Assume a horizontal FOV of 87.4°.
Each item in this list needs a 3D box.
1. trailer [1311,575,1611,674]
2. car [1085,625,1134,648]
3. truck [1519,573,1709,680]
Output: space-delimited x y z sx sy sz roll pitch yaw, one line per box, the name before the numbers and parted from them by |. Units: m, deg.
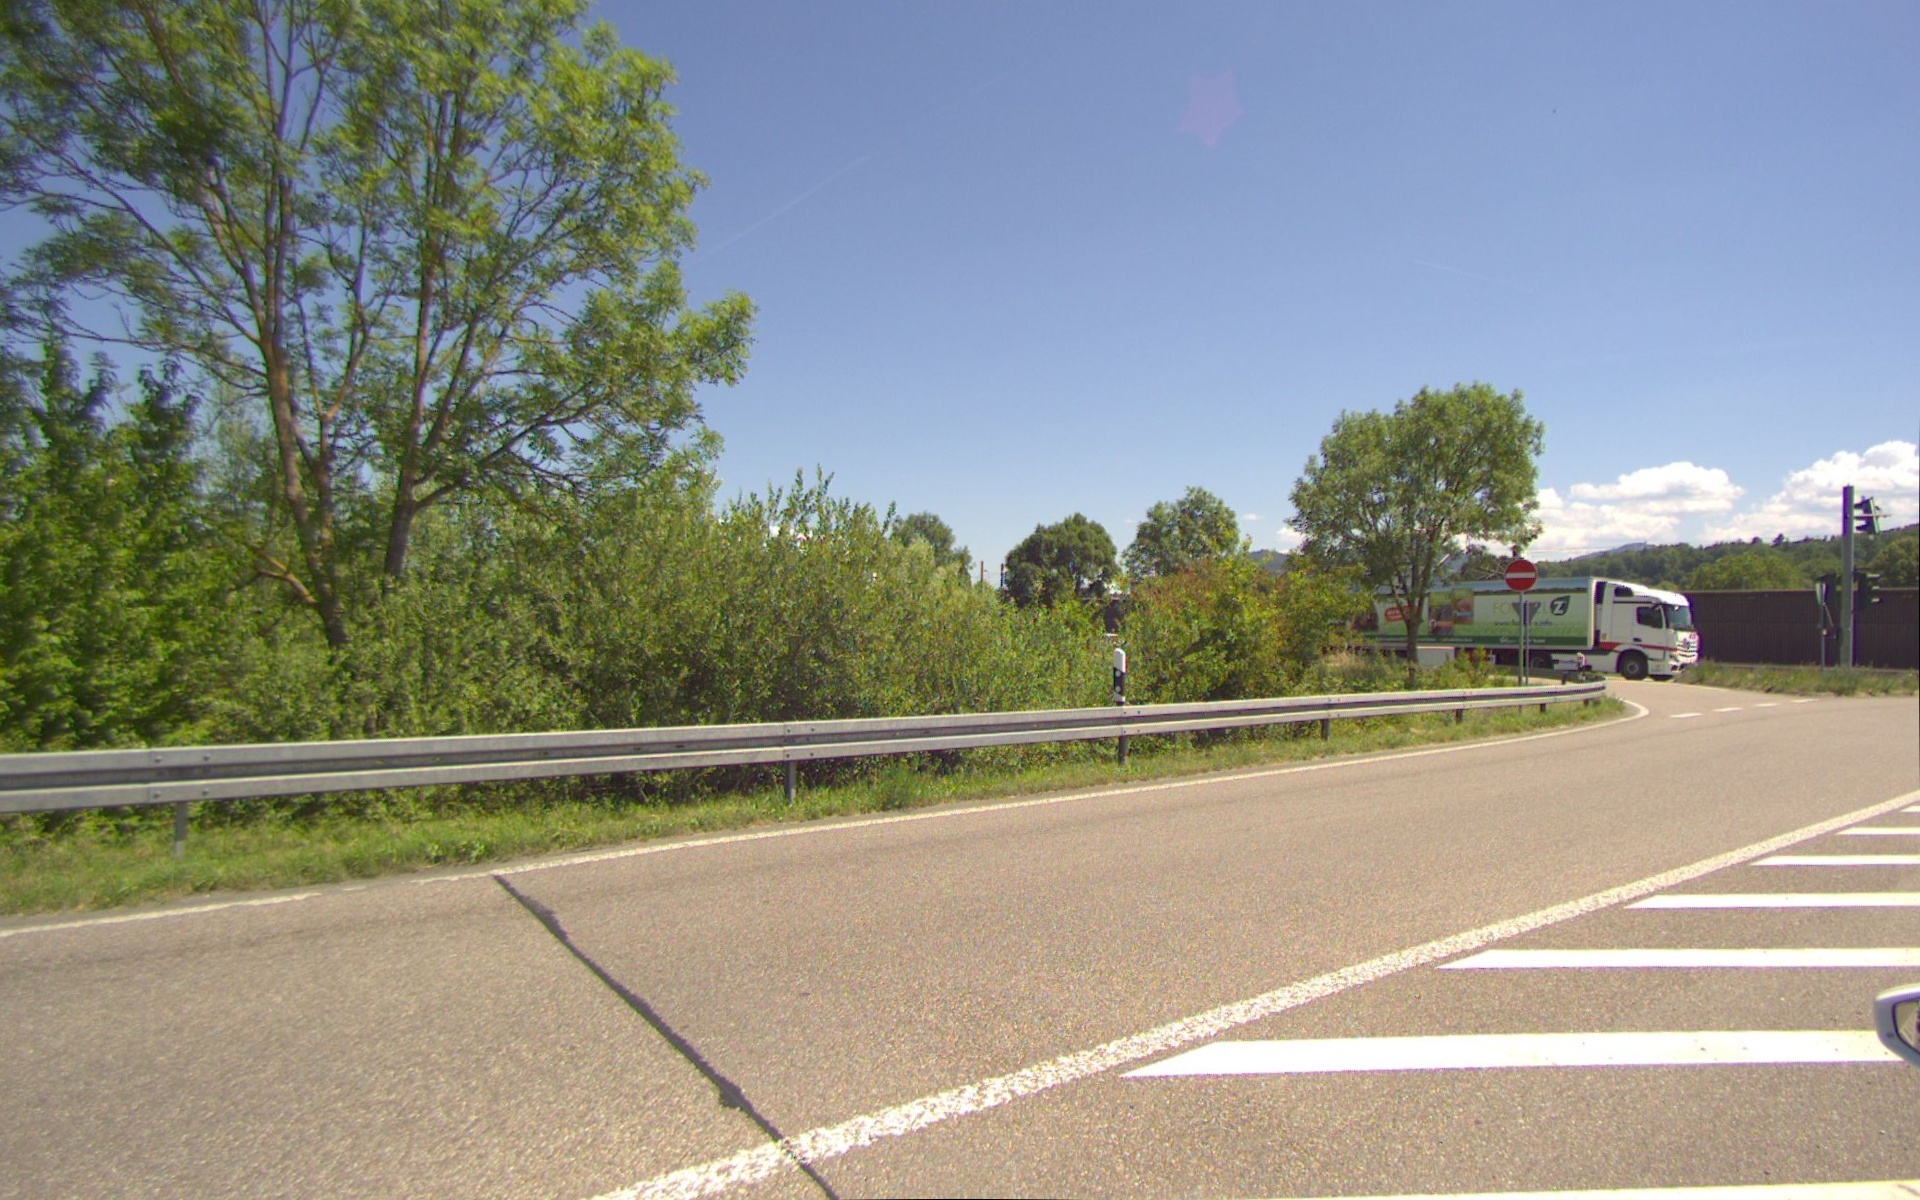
trailer | 22.817 1.045 47.188 3.027 4.007 13.074 2 -1 -31
car | 10.358 2.513 69.674 1.537 1.484 3.455 2 -1 -31
truck | 26.512 1.041 40.954 3.027 4.007 5.736 2 -1 -31
